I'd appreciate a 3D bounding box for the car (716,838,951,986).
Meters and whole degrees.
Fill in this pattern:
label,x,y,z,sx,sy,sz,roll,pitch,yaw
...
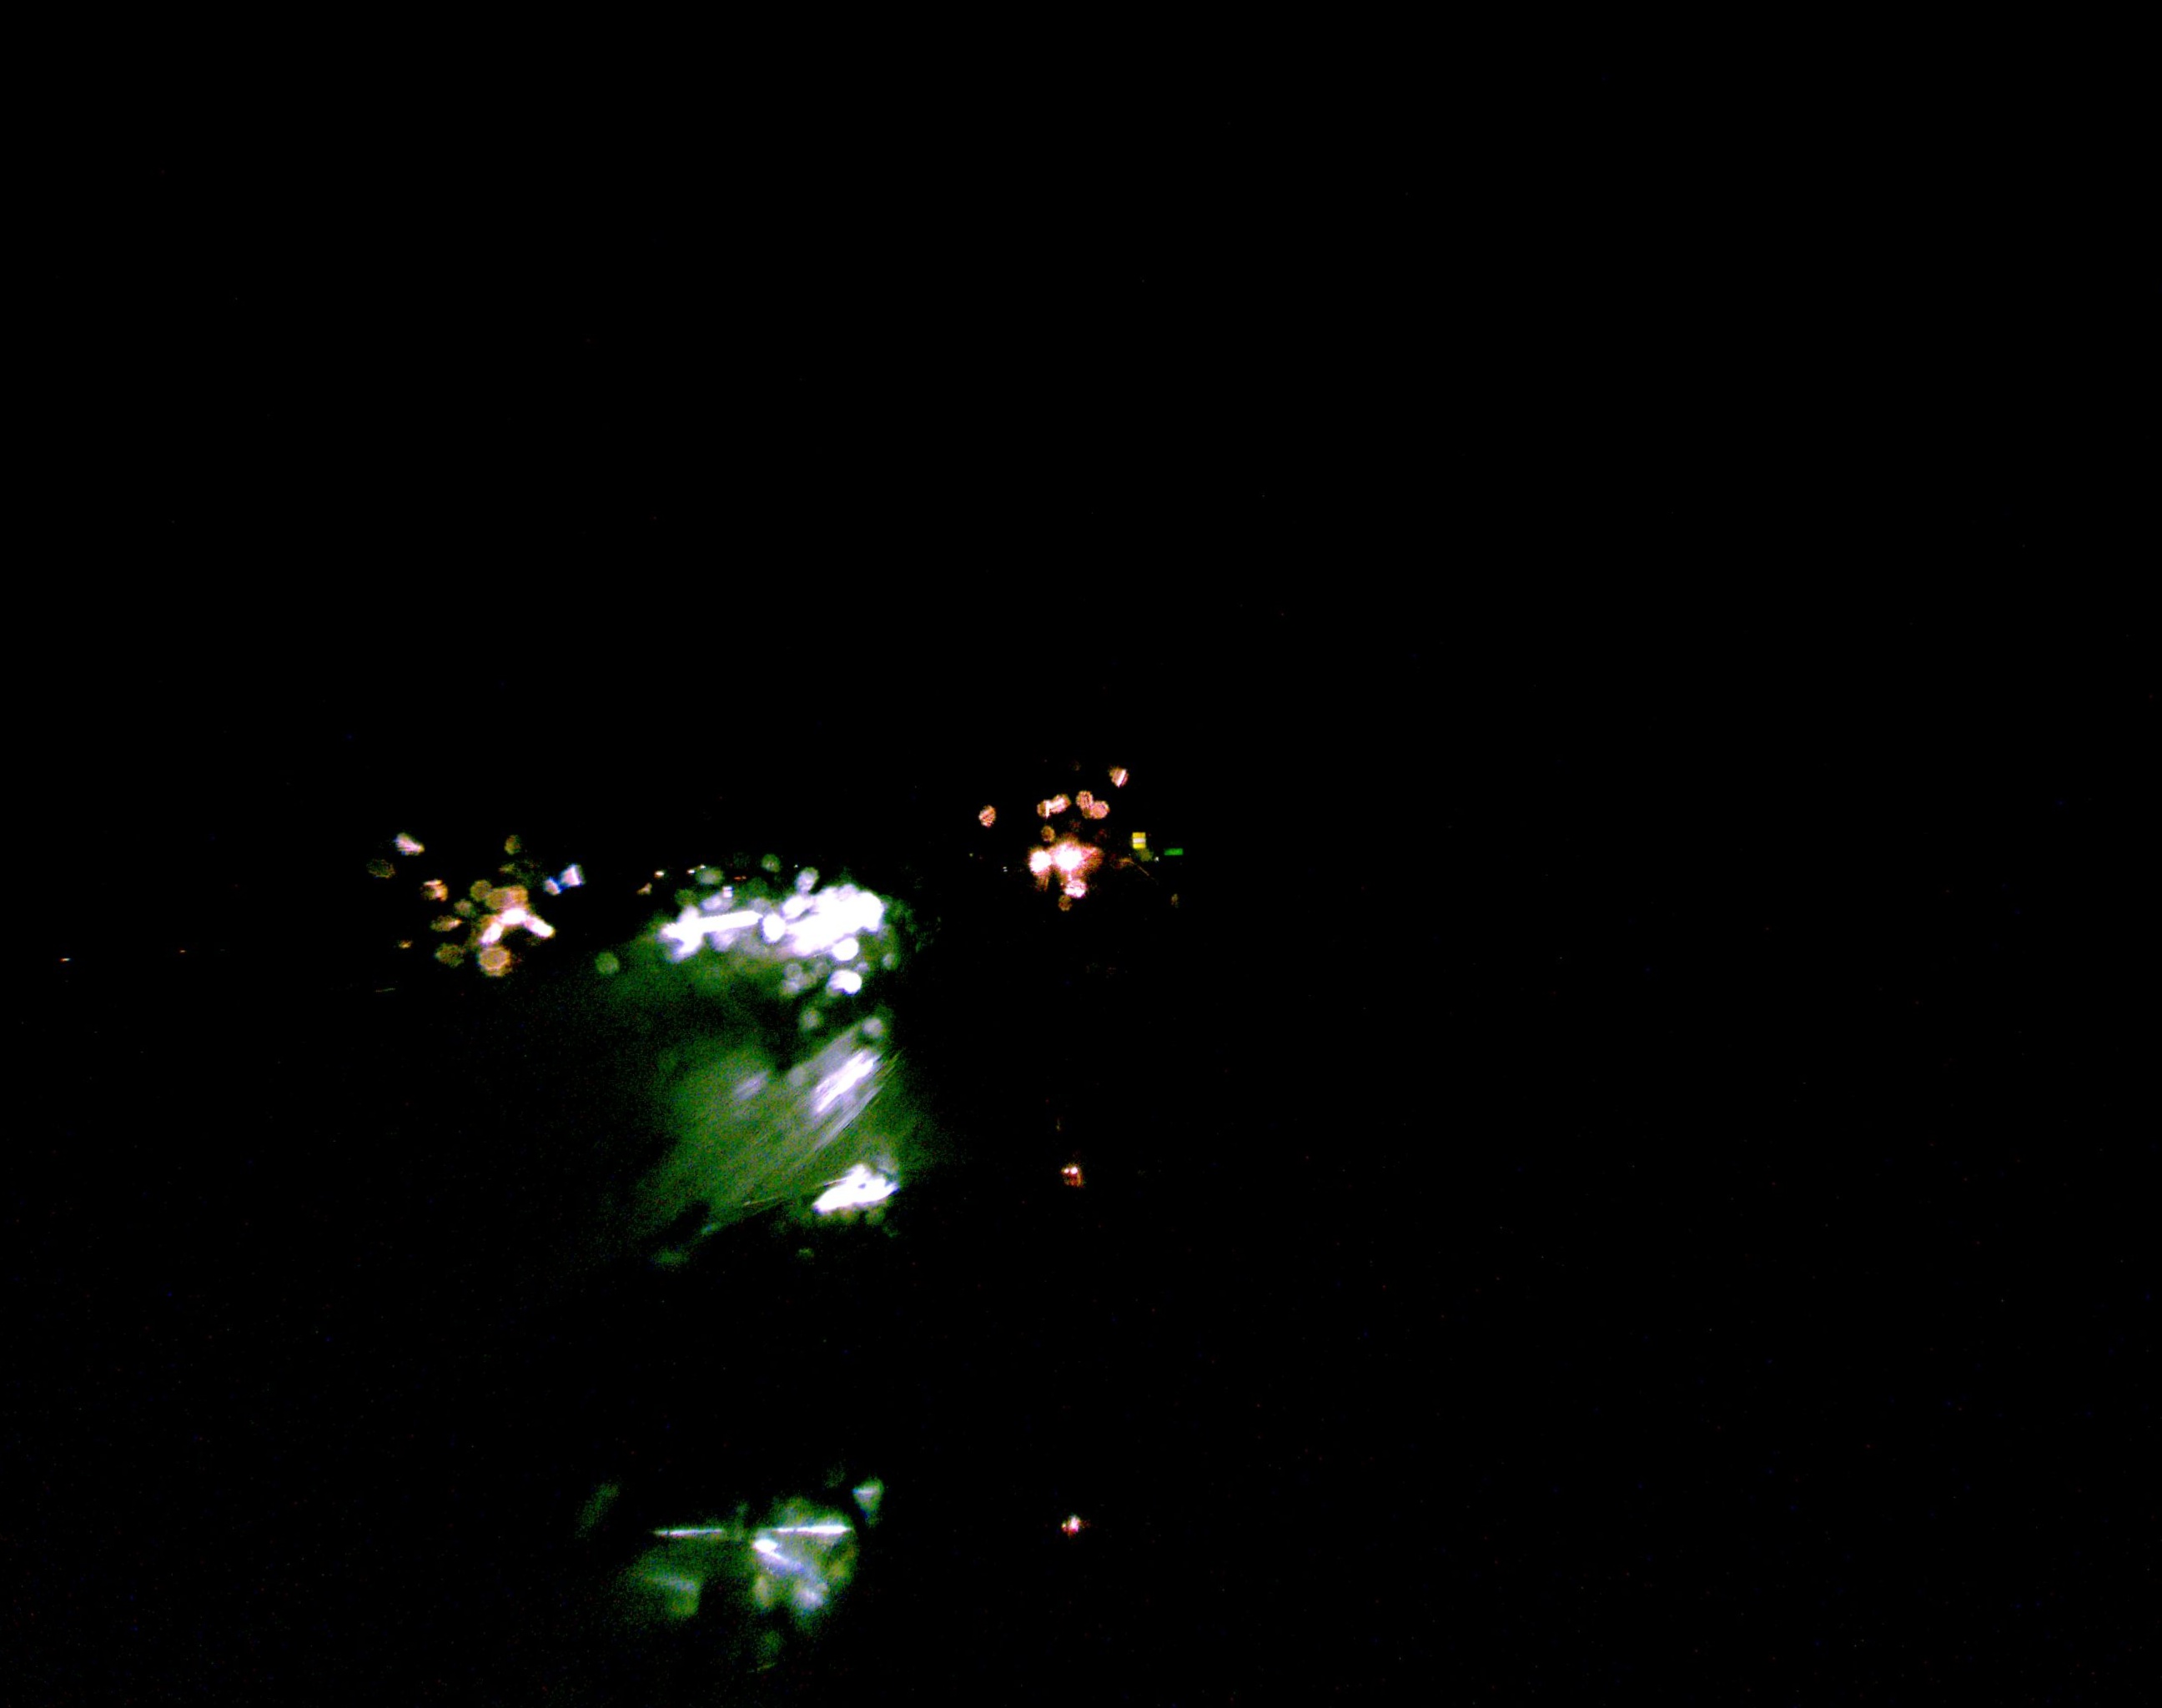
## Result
label,x,y,z,sx,sy,sz,roll,pitch,yaw
car,-3.178,0.656,11.488,1.774,1.667,4.474,-1,0,2

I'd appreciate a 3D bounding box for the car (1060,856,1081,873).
label,x,y,z,sx,sy,sz,roll,pitch,yaw
car,-1.614,1.627,124.963,2.743,2.268,6.262,-6,-1,1
